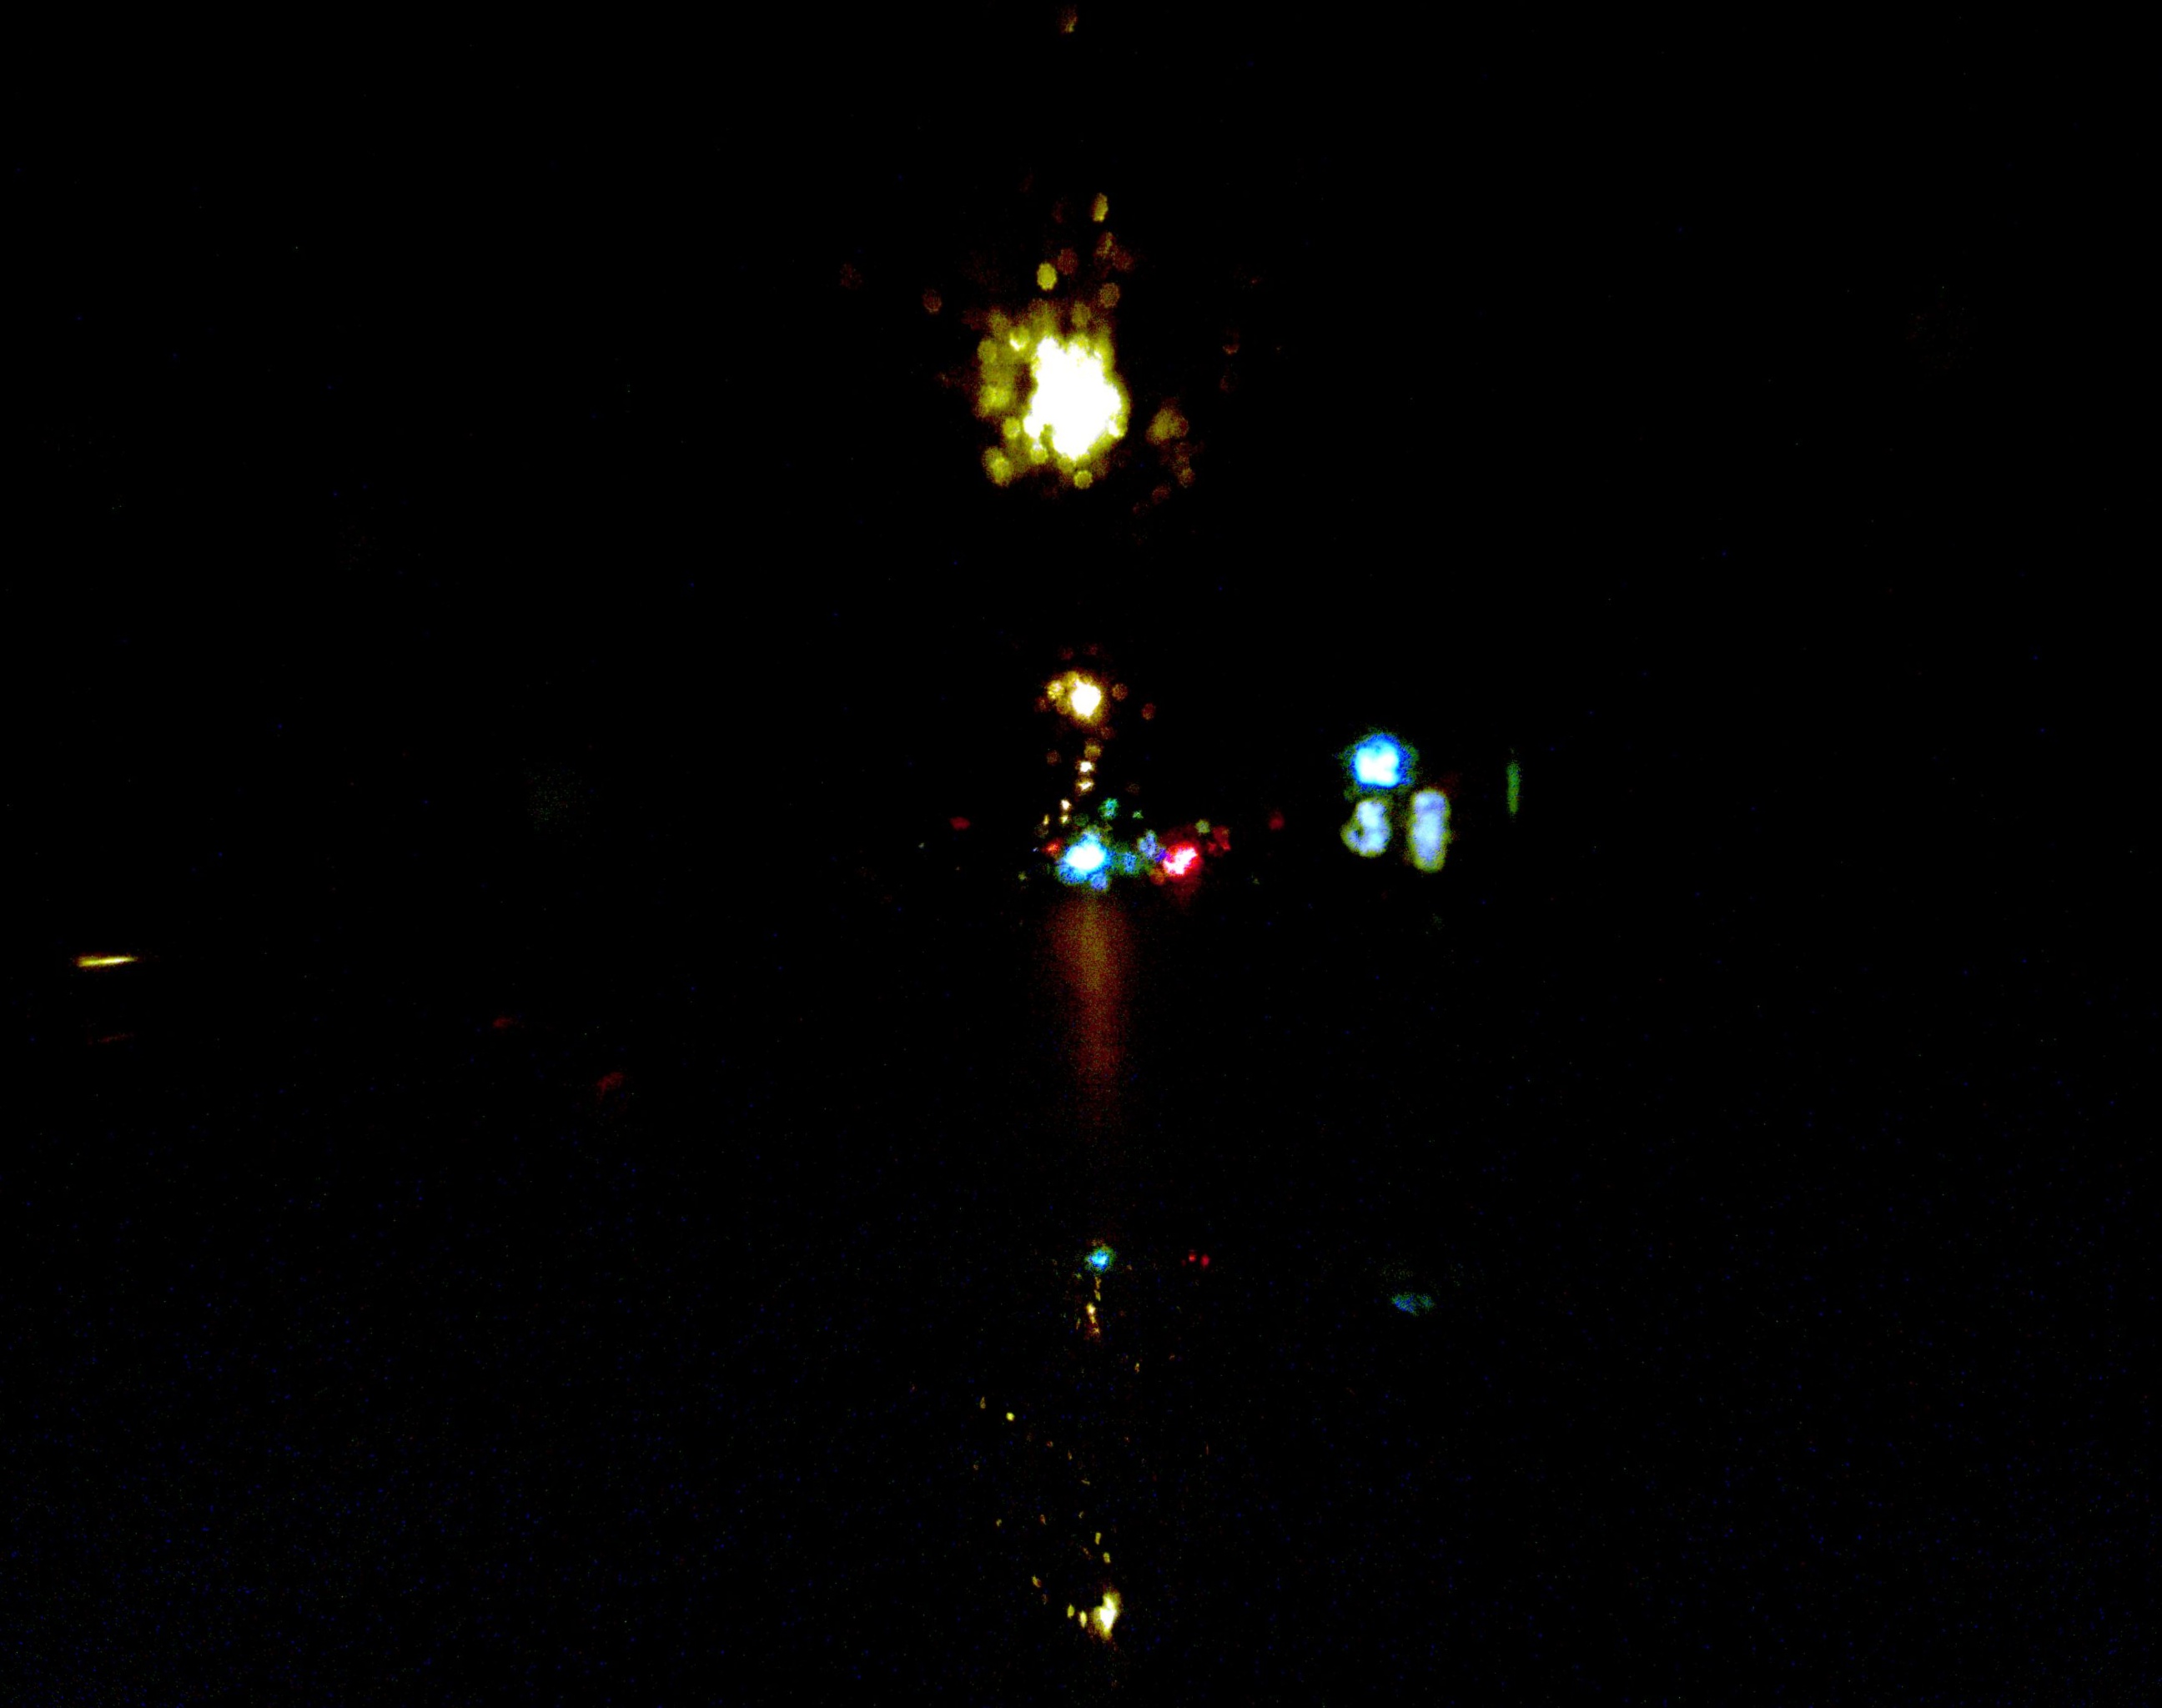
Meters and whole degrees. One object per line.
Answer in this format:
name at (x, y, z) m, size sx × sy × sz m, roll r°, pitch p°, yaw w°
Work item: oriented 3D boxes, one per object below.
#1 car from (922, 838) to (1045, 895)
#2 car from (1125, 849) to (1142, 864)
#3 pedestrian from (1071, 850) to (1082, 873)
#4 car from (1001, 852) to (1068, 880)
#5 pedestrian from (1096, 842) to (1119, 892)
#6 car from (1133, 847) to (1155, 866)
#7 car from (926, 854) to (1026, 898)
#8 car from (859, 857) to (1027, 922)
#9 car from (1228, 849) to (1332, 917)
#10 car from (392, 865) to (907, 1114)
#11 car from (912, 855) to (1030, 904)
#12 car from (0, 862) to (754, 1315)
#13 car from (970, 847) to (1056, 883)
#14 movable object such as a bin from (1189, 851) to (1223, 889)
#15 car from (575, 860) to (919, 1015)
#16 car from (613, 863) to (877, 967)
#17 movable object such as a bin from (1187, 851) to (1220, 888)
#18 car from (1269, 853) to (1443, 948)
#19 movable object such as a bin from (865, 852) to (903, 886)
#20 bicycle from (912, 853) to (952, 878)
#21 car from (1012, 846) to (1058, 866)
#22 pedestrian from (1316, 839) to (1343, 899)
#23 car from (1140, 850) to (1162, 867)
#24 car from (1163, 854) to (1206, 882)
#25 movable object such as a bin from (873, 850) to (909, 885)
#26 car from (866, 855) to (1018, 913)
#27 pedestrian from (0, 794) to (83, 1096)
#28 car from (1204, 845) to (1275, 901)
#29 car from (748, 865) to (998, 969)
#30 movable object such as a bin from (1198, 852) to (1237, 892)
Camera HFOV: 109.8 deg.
car at (-4.035, 0.464, 31.680) m, size 4.734 × 2.235 × 1.941 m, roll 0°, pitch 1°, yaw -35°
car at (6.299, 0.309, 90.450) m, size 1.816 × 1.660 × 4.413 m, roll -1°, pitch 0°, yaw 6°
pedestrian at (-0.348, 0.579, 57.809) m, size 0.824 × 1.760 × 1.177 m, roll 0°, pitch 1°, yaw 0°
car at (-3.157, 0.789, 51.789) m, size 4.112 × 1.754 × 1.855 m, roll -2°, pitch 1°, yaw -27°
pedestrian at (1.081, 0.544, 31.063) m, size 0.645 × 2.002 × 0.676 m, roll 1°, pitch 0°, yaw -30°
car at (6.170, 0.247, 74.880) m, size 1.871 × 1.835 × 4.827 m, roll 0°, pitch 0°, yaw 1°
car at (-3.950, 0.794, 28.806) m, size 3.407 × 1.533 × 1.573 m, roll 0°, pitch 1°, yaw -35°
car at (-3.639, 0.863, 20.201) m, size 4.007 × 1.543 × 1.800 m, roll 0°, pitch 1°, yaw -34°
car at (5.025, 0.676, 19.694) m, size 1.607 × 1.543 × 4.025 m, roll -2°, pitch 0°, yaw 0°
car at (-3.626, 0.928, 6.823) m, size 3.660 × 1.571 × 1.588 m, roll -1°, pitch 1°, yaw -38°
car at (-3.731, 0.814, 25.918) m, size 3.659 × 1.533 × 1.556 m, roll 0°, pitch 1°, yaw -29°
car at (-3.741, 0.862, 3.749) m, size 3.660 × 1.571 × 1.588 m, roll 1°, pitch 1°, yaw -34°
car at (-3.610, 0.584, 40.672) m, size 4.256 × 1.848 × 1.712 m, roll 1°, pitch 1°, yaw -35°
movable object such as a bin at (5.018, 0.637, 30.526) m, size 1.167 × 1.451 × 1.107 m, roll -2°, pitch 1°, yaw 3°
car at (-4.083, 0.897, 9.607) m, size 3.659 × 1.571 × 1.589 m, roll -1°, pitch 1°, yaw -27°
car at (-5.864, 0.962, 13.407) m, size 4.006 × 1.443 × 1.684 m, roll -2°, pitch 1°, yaw -33°
movable object such as a bin at (5.096, 0.650, 31.702) m, size 1.211 × 1.451 × 1.107 m, roll -2°, pitch 1°, yaw 3°
car at (4.919, 0.744, 14.279) m, size 1.690 × 1.447 × 4.315 m, roll -2°, pitch 0°, yaw 0°
movable object such as a bin at (-8.352, 0.622, 32.275) m, size 1.258 × 1.364 × 0.998 m, roll 4°, pitch 1°, yaw 1°
bicycle at (-8.160, 0.619, 41.609) m, size 1.975 × 1.327 × 0.783 m, roll 2°, pitch 1°, yaw 7°
car at (-5.369, 0.236, 89.603) m, size 4.951 × 2.327 × 2.226 m, roll 0°, pitch 1°, yaw -34°
pedestrian at (7.478, 0.450, 22.855) m, size 0.641 × 1.771 × 0.549 m, roll -1°, pitch 1°, yaw 1°
car at (6.021, 0.366, 65.355) m, size 1.550 × 1.434 × 3.563 m, roll -3°, pitch 0°, yaw 1°
car at (5.329, 0.687, 39.406) m, size 1.658 × 1.351 × 4.222 m, roll -1°, pitch 0°, yaw 0°
movable object such as a bin at (-8.354, 0.573, 33.433) m, size 1.212 × 1.443 × 0.998 m, roll 4°, pitch 1°, yaw 1°
car at (-4.144, 0.831, 22.869) m, size 4.008 × 1.543 × 1.994 m, roll 0°, pitch 1°, yaw -37°
pedestrian at (-7.018, 0.547, 4.507) m, size 0.871 × 1.845 × 0.993 m, roll 1°, pitch 1°, yaw -2°
car at (5.231, 0.574, 25.504) m, size 1.607 × 1.696 × 3.721 m, roll -1°, pitch 0°, yaw 0°
car at (-3.396, 0.930, 12.628) m, size 3.691 × 1.452 × 1.600 m, roll 0°, pitch 1°, yaw -34°
movable object such as a bin at (5.257, 0.675, 29.355) m, size 1.265 × 1.451 × 1.151 m, roll -2°, pitch 1°, yaw 3°
